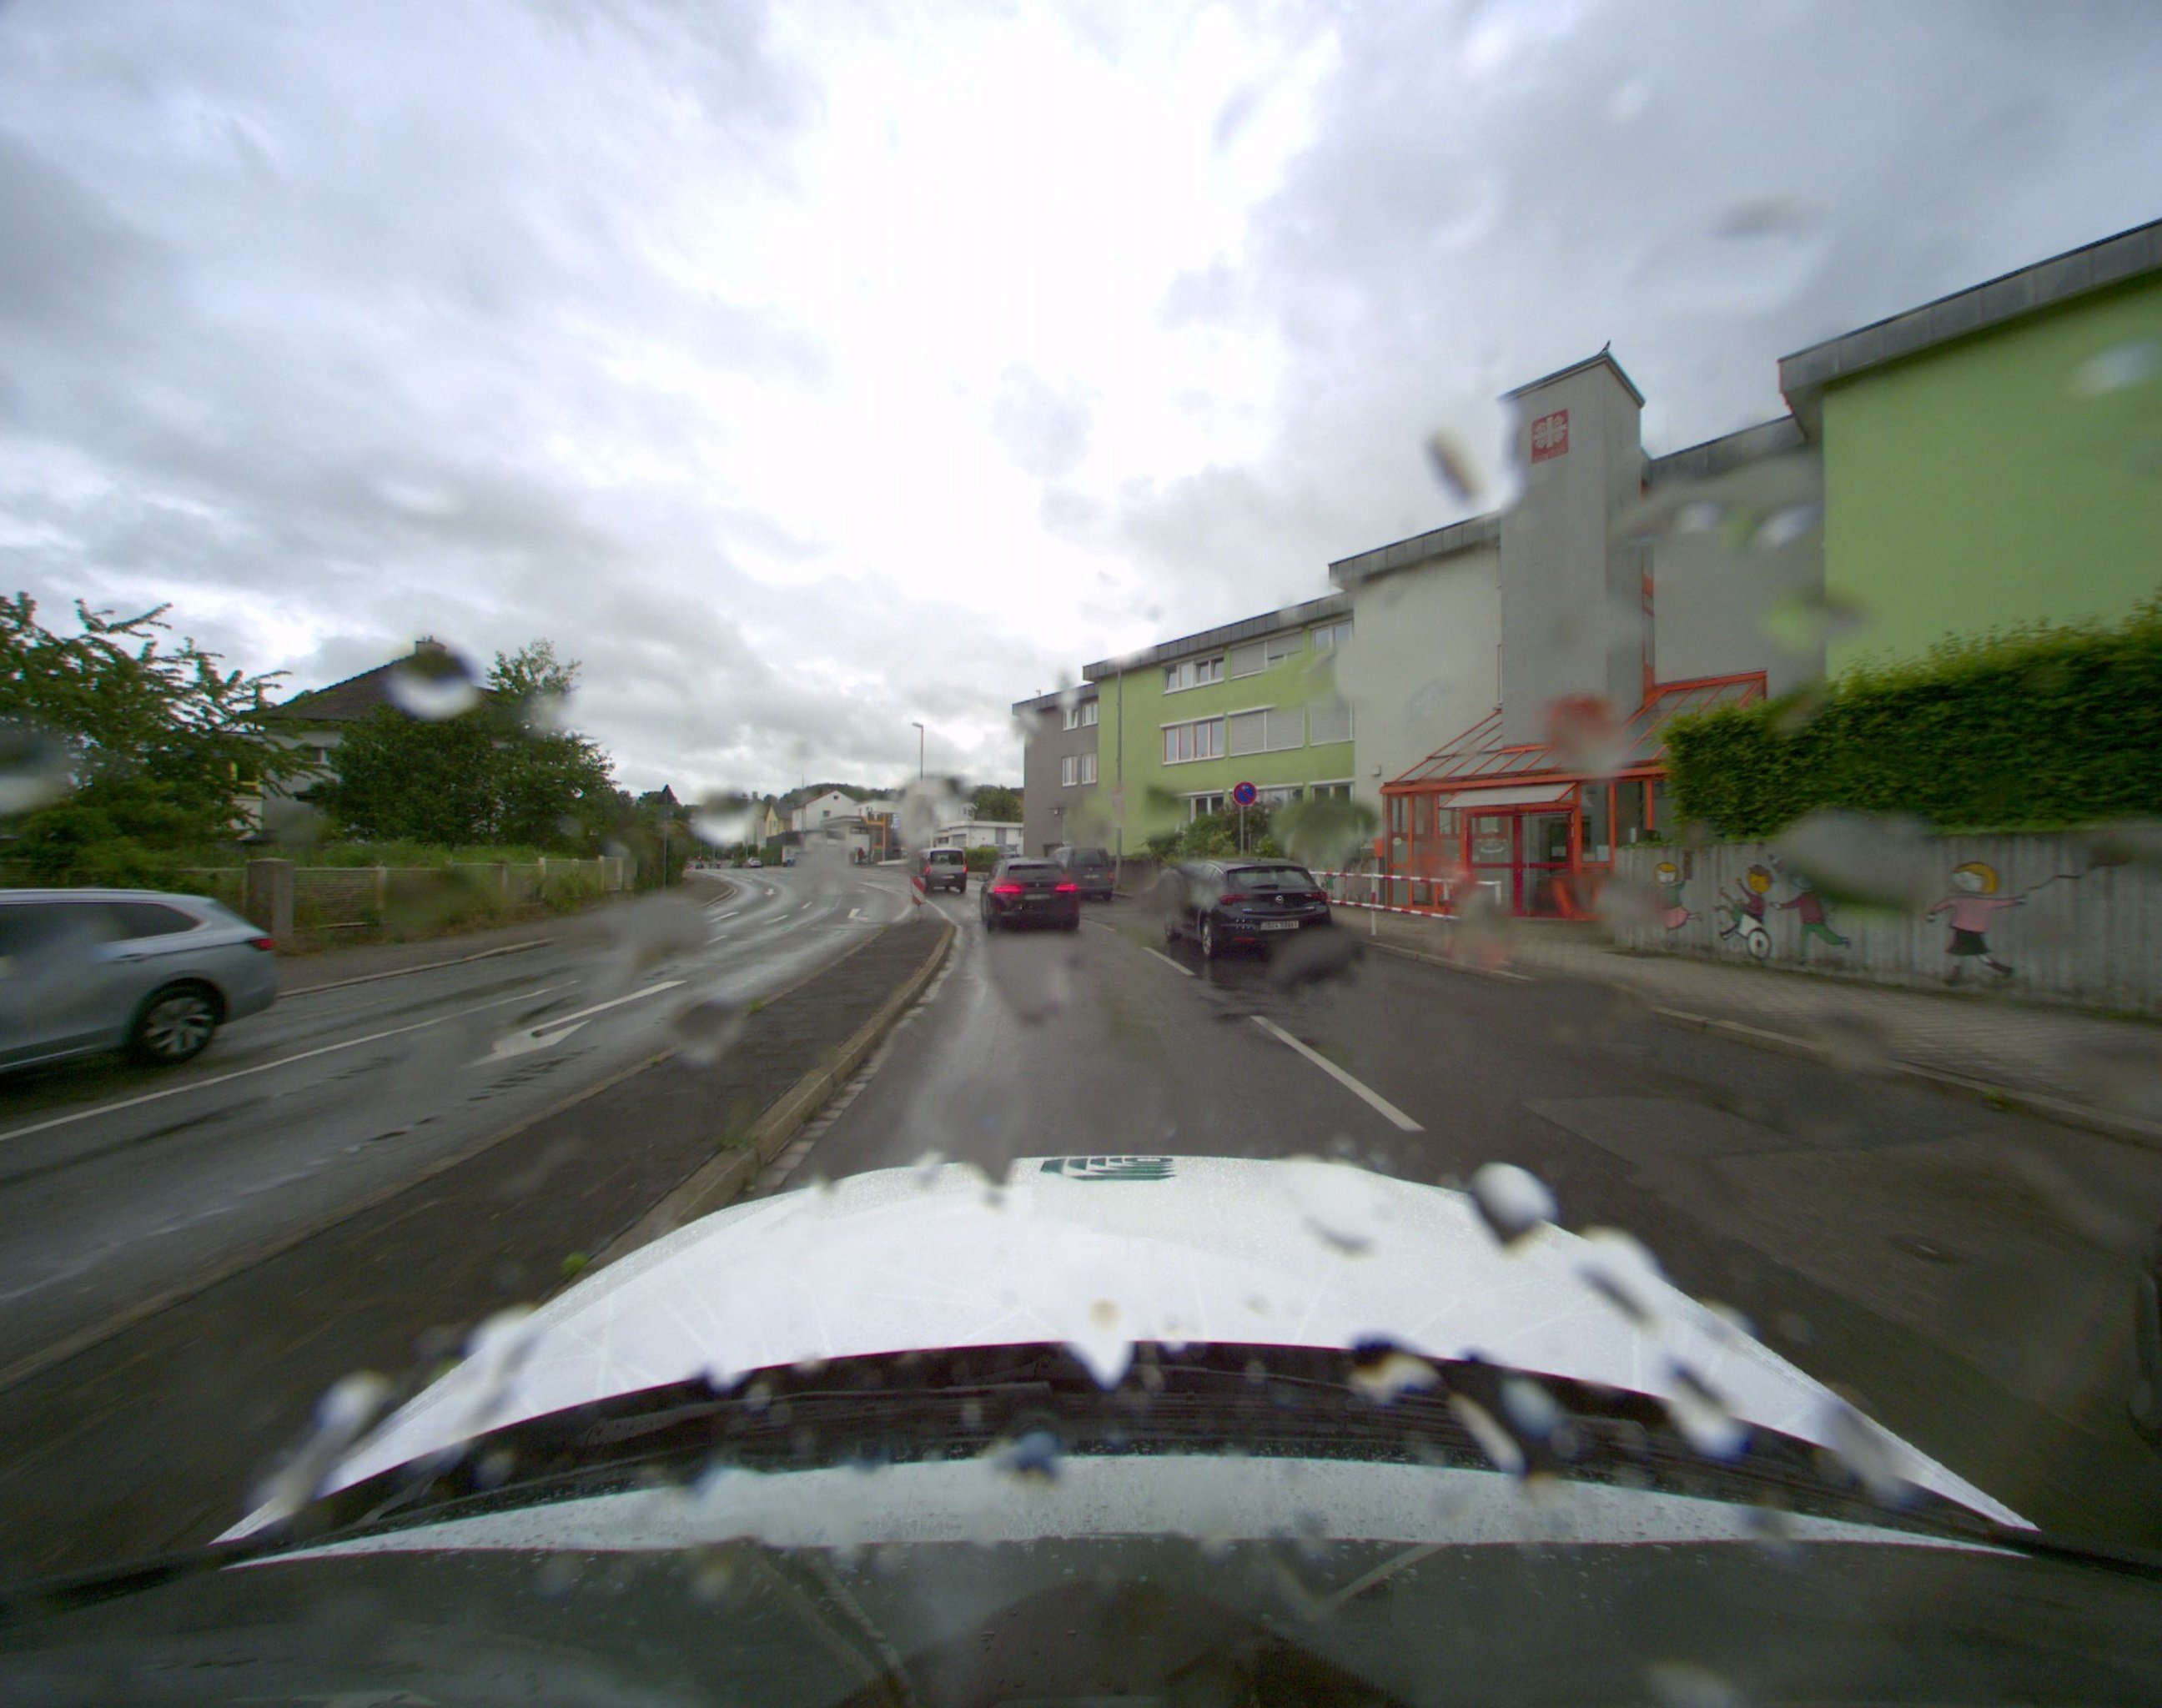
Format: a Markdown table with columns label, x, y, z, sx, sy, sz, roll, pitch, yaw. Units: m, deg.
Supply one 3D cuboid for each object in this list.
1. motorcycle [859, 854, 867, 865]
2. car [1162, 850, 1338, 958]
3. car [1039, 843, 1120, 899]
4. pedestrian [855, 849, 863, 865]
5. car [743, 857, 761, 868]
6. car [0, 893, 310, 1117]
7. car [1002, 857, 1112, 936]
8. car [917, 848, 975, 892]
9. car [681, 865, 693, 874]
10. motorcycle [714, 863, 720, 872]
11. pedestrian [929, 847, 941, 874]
| label | x | y | z | sx | sy | sz | roll | pitch | yaw |
| --- | --- | --- | --- | --- | --- | --- | --- | --- | --- |
| motorcycle | -23.458 | 0.601 | 87.704 | 0.465 | 1.055 | 1.377 | 0 | -2 | -31 |
| car | 2.525 | 0.736 | 13.170 | 1.753 | 1.449 | 3.993 | -1 | -2 | -4 |
| car | -0.141 | 0.602 | 28.180 | 1.842 | 1.767 | 3.979 | 0 | -2 | -15 |
| pedestrian | -23.877 | 0.315 | 87.593 | 0.613 | 1.656 | 0.580 | 0 | -2 | -30 |
| car | -46.294 | 1.192 | 114.526 | 1.712 | 1.510 | 4.488 | 0 | -2 | -32 |
| car | -8.092 | 1.047 | 5.351 | 1.671 | 1.450 | 4.684 | -1 | -2 | -2 |
| car | -0.646 | 0.868 | 17.770 | 1.992 | 1.484 | 3.989 | -1 | -2 | -8 |
| car | -5.839 | 0.703 | 34.881 | 1.998 | 1.738 | 3.978 | 0 | -2 | -16 |
| car | -83.526 | 3.280 | 172.586 | 2.007 | 1.741 | 3.960 | 0 | -2 | -31 |
| motorcycle | -64.527 | 2.374 | 144.236 | 0.708 | 1.509 | 2.129 | -3 | 0 | -31 |
| pedestrian | -10.743 | 0.476 | 59.820 | 0.720 | 2.014 | 0.609 | 0 | -2 | -29 |
